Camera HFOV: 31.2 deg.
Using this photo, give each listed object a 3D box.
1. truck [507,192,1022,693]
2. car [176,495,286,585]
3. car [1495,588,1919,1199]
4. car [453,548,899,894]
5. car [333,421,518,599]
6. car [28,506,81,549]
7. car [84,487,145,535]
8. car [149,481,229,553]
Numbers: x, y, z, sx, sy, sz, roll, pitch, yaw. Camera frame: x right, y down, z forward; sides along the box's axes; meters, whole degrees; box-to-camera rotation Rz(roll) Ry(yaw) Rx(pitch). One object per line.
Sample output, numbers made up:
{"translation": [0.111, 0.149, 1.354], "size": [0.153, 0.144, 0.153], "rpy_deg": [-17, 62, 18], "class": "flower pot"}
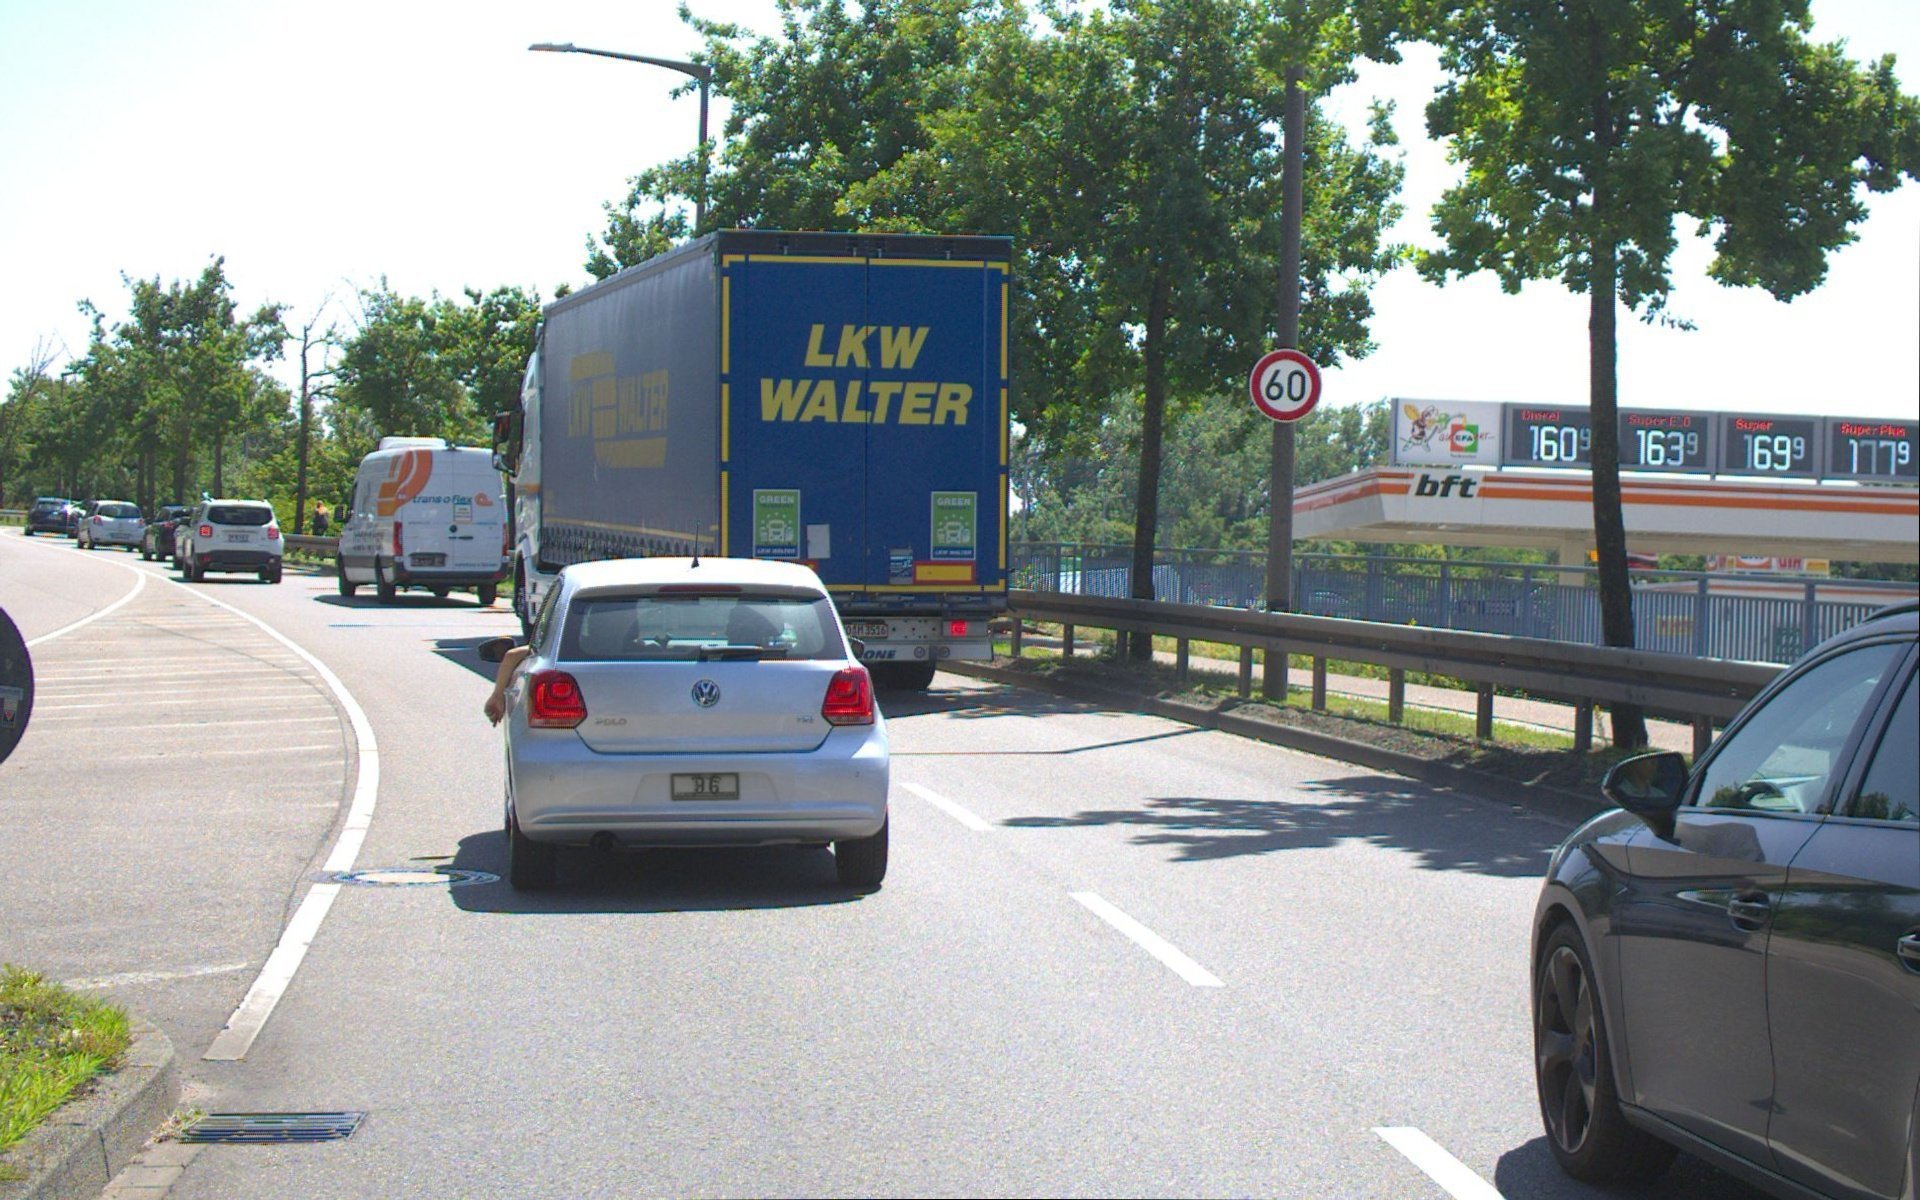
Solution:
{"translation": [-2.699, -1.392, 37.273], "size": [2.832, 4.184, 16.479], "rpy_deg": [1, 0, -13], "class": "truck"}
{"translation": [-14.938, -1.203, 70.296], "size": [1.903, 1.712, 4.225], "rpy_deg": [1, 0, -16], "class": "car"}
{"translation": [2.363, 0.724, 6.663], "size": [1.604, 1.451, 4.236], "rpy_deg": [1, 0, -5], "class": "car"}
{"translation": [-1.436, 0.523, 16.157], "size": [1.645, 1.434, 3.538], "rpy_deg": [1, 0, -12], "class": "car"}
{"translation": [-9.386, -1.567, 59.906], "size": [2.175, 2.890, 6.360], "rpy_deg": [1, 1, -18], "class": "car"}
{"translation": [-32.891, -2.627, 124.943], "size": [1.664, 1.460, 3.582], "rpy_deg": [1, 0, -12], "class": "car"}
{"translation": [-25.293, -2.639, 102.799], "size": [1.607, 1.355, 3.664], "rpy_deg": [1, 0, -16], "class": "car"}
{"translation": [-20.170, -2.149, 89.850], "size": [1.721, 1.720, 4.001], "rpy_deg": [1, 0, -17], "class": "car"}
